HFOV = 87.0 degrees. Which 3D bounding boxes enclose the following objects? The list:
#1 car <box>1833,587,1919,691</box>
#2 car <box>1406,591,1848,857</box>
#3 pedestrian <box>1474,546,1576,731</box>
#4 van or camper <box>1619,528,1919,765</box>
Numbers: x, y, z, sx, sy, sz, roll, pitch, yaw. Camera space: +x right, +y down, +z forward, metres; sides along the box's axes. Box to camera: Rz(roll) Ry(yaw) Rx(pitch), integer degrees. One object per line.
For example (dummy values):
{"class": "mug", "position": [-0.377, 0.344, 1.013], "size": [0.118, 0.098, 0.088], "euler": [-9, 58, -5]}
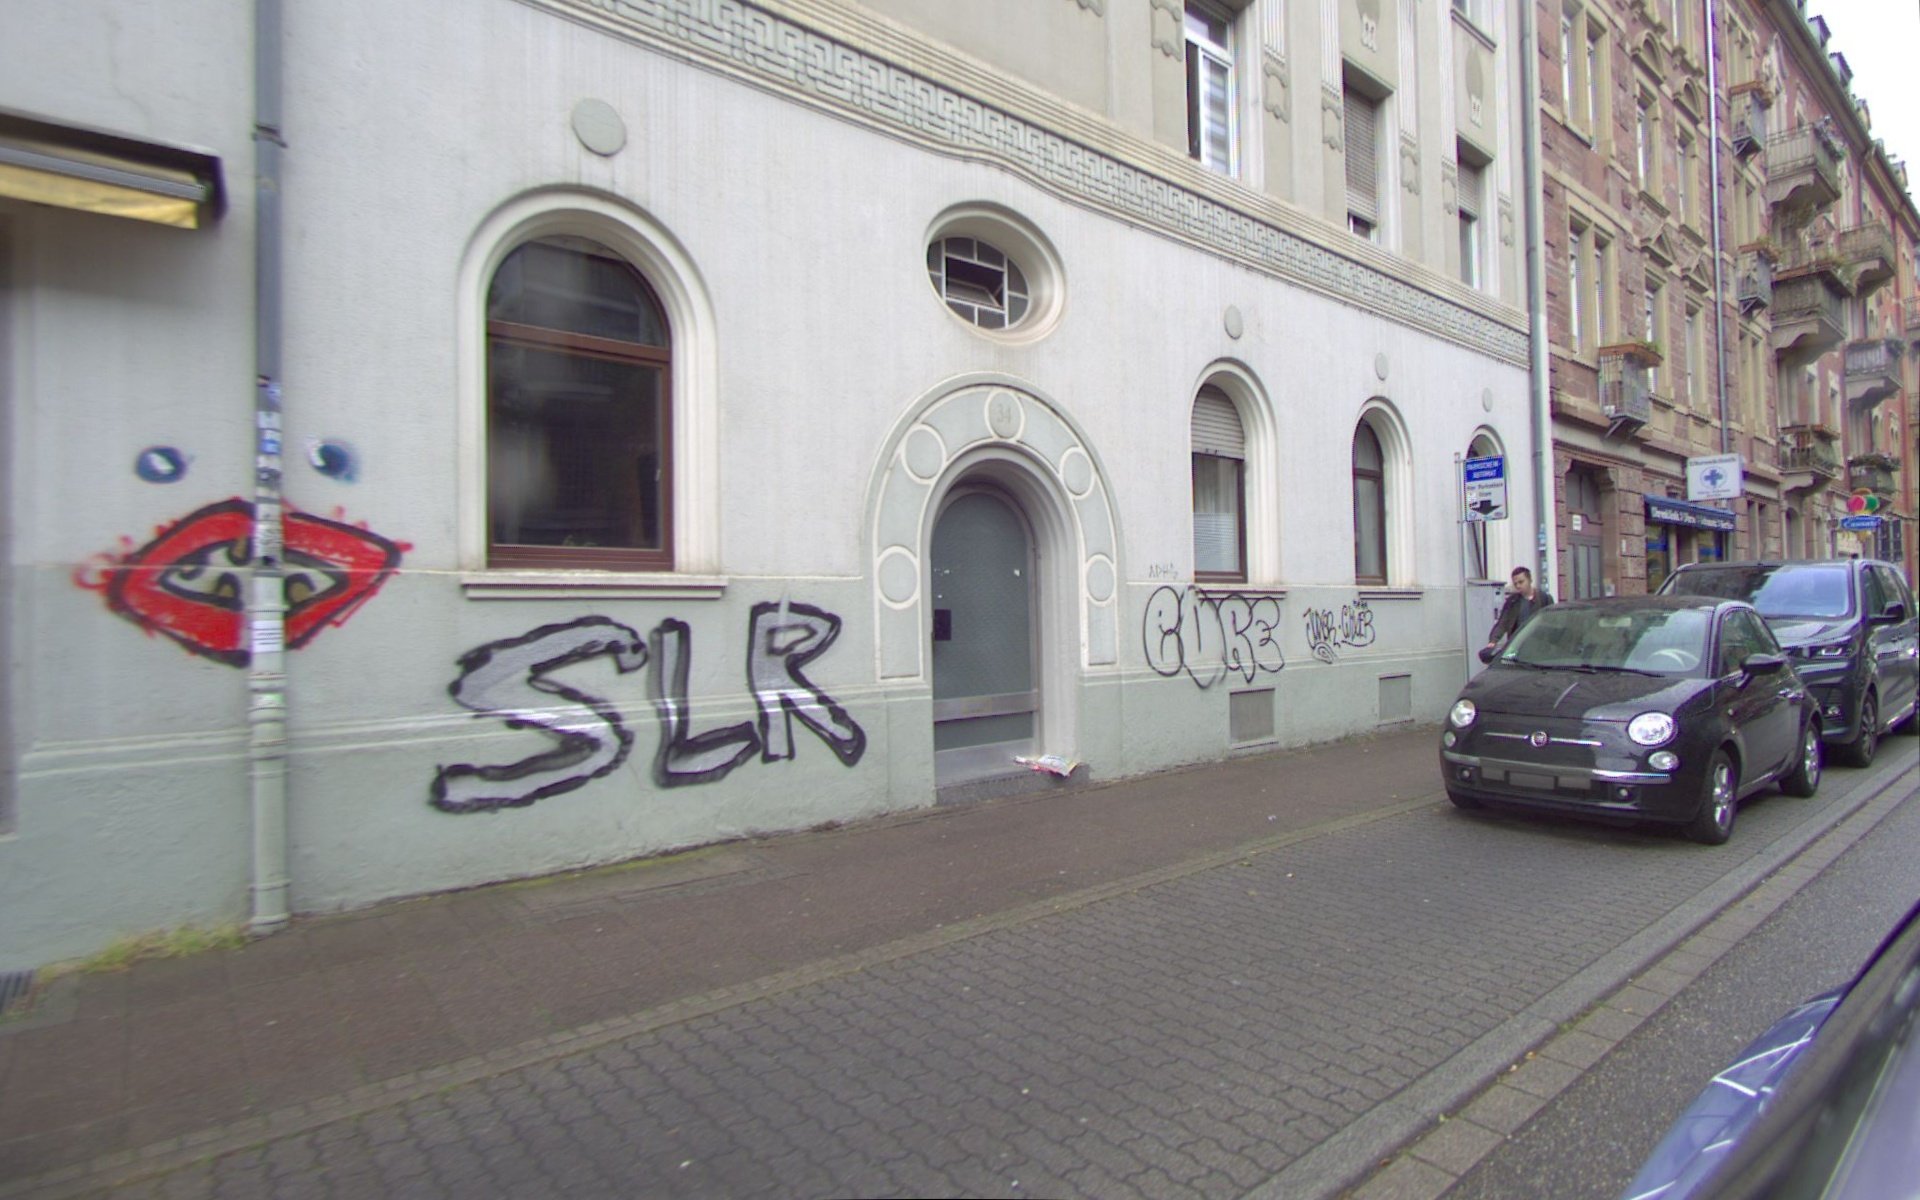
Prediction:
{"class": "car", "position": [15.911, 0.568, 16.615], "size": [3.934, 1.565, 1.844], "euler": [-1, 0, -41]}
{"class": "car", "position": [4.898, 0.653, 7.256], "size": [3.640, 1.418, 1.713], "euler": [0, 0, -41]}
{"class": "pedestrian", "position": [6.259, 0.409, 11.236], "size": [0.408, 1.976, 0.826], "euler": [-2, 0, -39]}
{"class": "van or camper", "position": [8.881, 0.360, 10.567], "size": [4.966, 1.915, 2.025], "euler": [0, 0, -40]}
